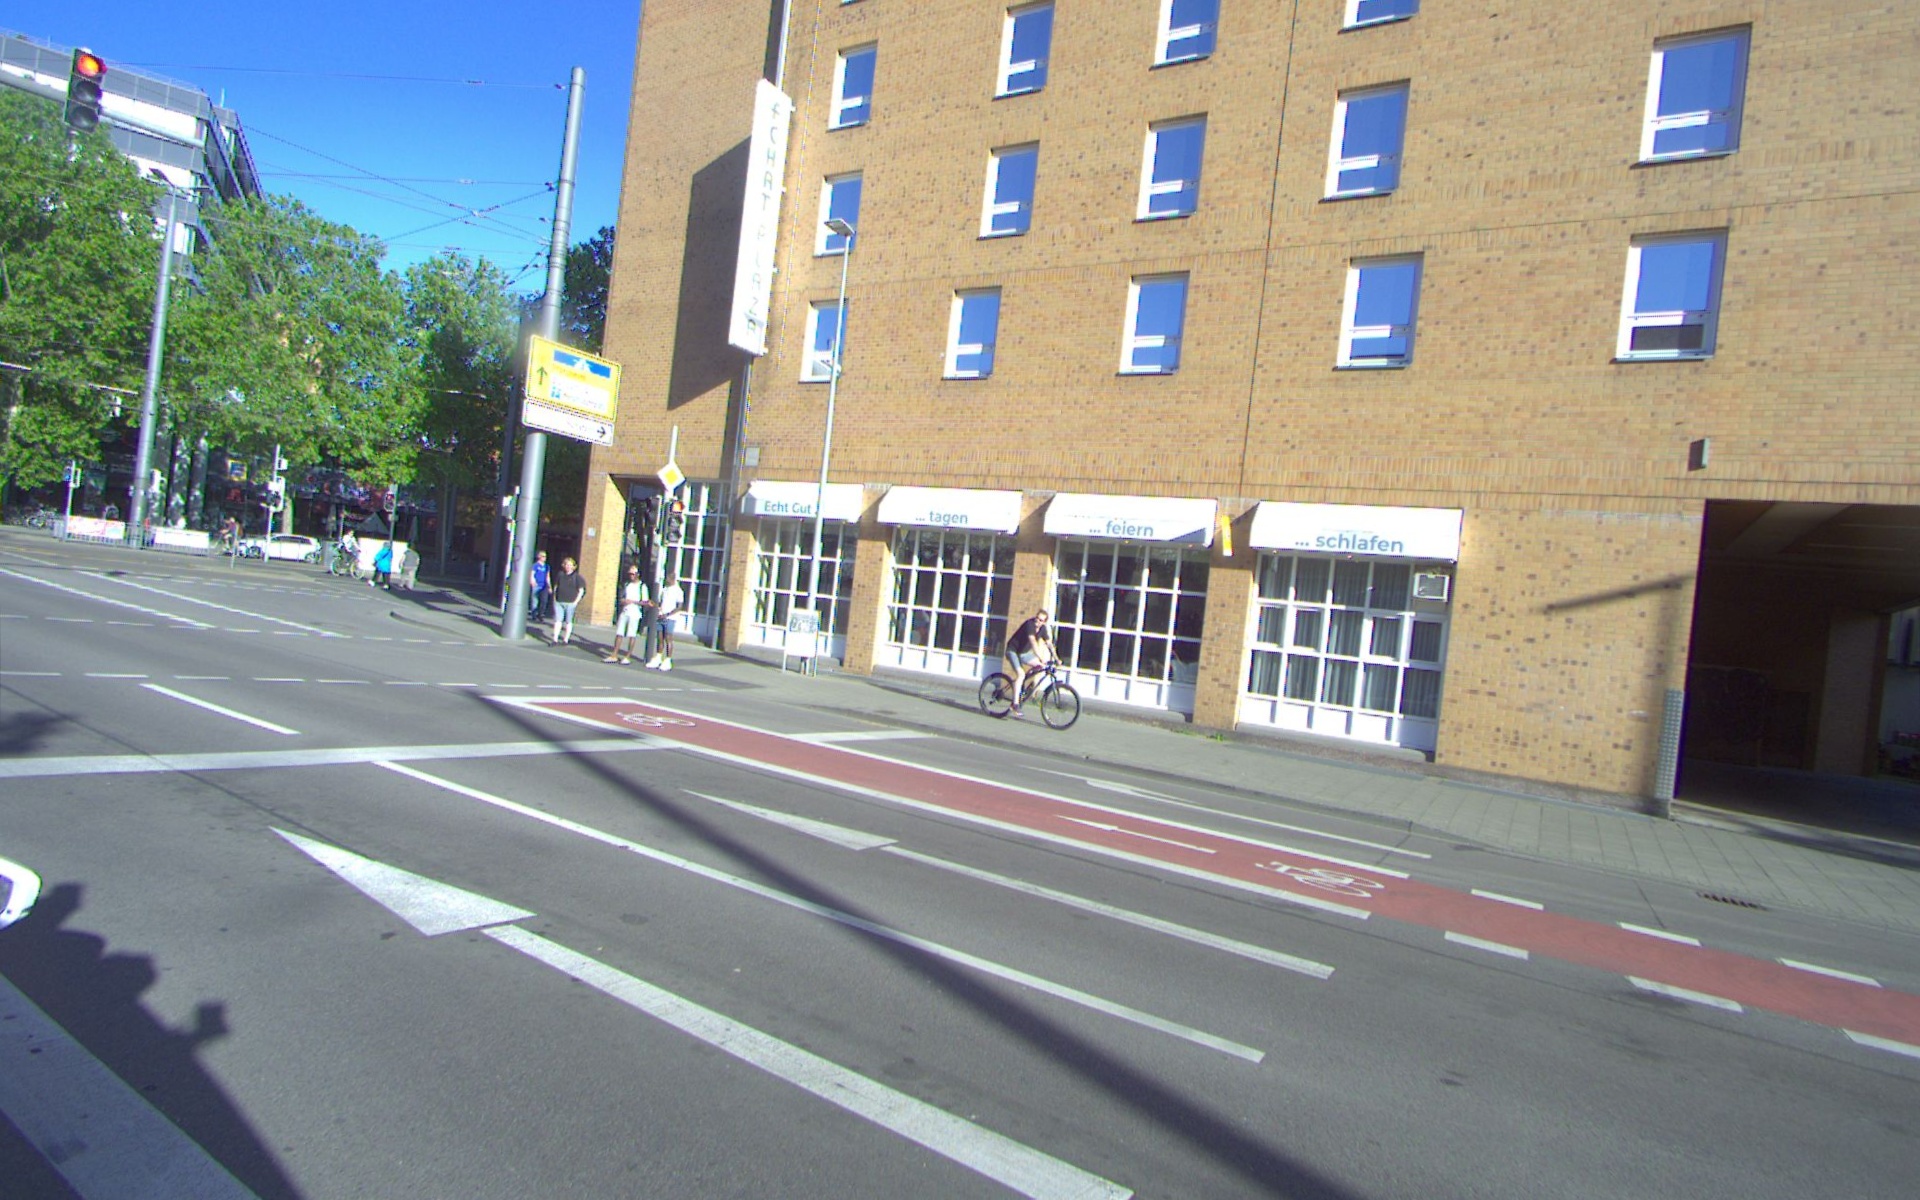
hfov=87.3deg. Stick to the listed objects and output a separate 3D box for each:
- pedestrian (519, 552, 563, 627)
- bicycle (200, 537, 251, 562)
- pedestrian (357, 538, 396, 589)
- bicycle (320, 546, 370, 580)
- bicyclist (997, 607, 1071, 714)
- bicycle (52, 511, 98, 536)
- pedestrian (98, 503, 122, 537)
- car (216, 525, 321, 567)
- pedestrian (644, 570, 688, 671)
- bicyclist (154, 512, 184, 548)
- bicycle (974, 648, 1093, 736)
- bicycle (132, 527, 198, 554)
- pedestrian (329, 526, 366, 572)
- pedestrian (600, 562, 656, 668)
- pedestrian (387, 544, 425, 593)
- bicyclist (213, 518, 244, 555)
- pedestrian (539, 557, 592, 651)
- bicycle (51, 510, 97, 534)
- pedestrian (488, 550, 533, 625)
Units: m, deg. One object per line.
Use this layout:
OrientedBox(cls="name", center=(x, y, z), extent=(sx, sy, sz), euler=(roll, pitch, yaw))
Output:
OrientedBox(cls="pedestrian", center=(-10.349, -0.263, 24.823), extent=(0.594, 1.747, 0.602), euler=(6, -1, 38))
OrientedBox(cls="bicycle", center=(-35.892, -2.465, 49.164), extent=(0.642, 0.921, 1.854), euler=(7, -1, 36))
OrientedBox(cls="pedestrian", center=(-19.533, -1.211, 33.683), extent=(0.729, 1.557, 0.677), euler=(6, -1, 24))
OrientedBox(cls="bicycle", center=(-23.762, -1.432, 38.888), extent=(1.891, 1.064, 0.791), euler=(6, -2, 32))
OrientedBox(cls="bicyclist", center=(1.140, 0.926, 15.650), extent=(0.576, 1.536, 0.839), euler=(1, 6, -44))
OrientedBox(cls="bicycle", center=(-45.467, -3.929, 51.698), extent=(1.700, 0.998, 0.386), euler=(7, 0, -45))
OrientedBox(cls="pedestrian", center=(-51.488, -4.850, 60.956), extent=(0.845, 1.873, 0.800), euler=(10, -3, -44))
OrientedBox(cls="car", center=(-35.944, -2.780, 52.370), extent=(1.969, 1.503, 3.990), euler=(6, -3, 36))
OrientedBox(cls="pedestrian", center=(-5.384, 0.374, 18.408), extent=(0.571, 1.797, 0.403), euler=(7, 2, 43))
OrientedBox(cls="bicyclist", center=(-47.777, -4.237, 60.732), extent=(1.222, 1.955, 0.825), euler=(7, 0, -42))
OrientedBox(cls="bicycle", center=(1.107, 1.394, 15.635), extent=(0.598, 1.065, 1.857), euler=(1, 5, -44))
OrientedBox(cls="bicycle", center=(-47.916, -3.587, 60.645), extent=(3.031, 1.126, 0.825), euler=(8, -1, -42))
OrientedBox(cls="pedestrian", center=(-23.707, -1.967, 38.910), extent=(0.824, 1.612, 0.771), euler=(6, -1, 31))
OrientedBox(cls="pedestrian", center=(-6.132, 0.275, 18.609), extent=(0.719, 1.857, 0.497), euler=(5, 1, -3))
OrientedBox(cls="pedestrian", center=(-19.005, -1.071, 34.516), extent=(0.729, 1.557, 0.652), euler=(6, -1, 24))
OrientedBox(cls="bicyclist", center=(-35.775, -3.100, 49.190), extent=(0.627, 1.635, 0.926), euler=(7, 0, 35))
OrientedBox(cls="pedestrian", center=(-7.979, 0.078, 20.351), extent=(0.683, 1.789, 0.573), euler=(8, 0, -9))
OrientedBox(cls="bicycle", center=(-46.418, -4.064, 52.711), extent=(1.700, 0.998, 0.386), euler=(7, 0, -45))
OrientedBox(cls="pedestrian", center=(-10.831, -0.299, 24.256), extent=(0.649, 1.723, 0.561), euler=(6, -1, 37))
